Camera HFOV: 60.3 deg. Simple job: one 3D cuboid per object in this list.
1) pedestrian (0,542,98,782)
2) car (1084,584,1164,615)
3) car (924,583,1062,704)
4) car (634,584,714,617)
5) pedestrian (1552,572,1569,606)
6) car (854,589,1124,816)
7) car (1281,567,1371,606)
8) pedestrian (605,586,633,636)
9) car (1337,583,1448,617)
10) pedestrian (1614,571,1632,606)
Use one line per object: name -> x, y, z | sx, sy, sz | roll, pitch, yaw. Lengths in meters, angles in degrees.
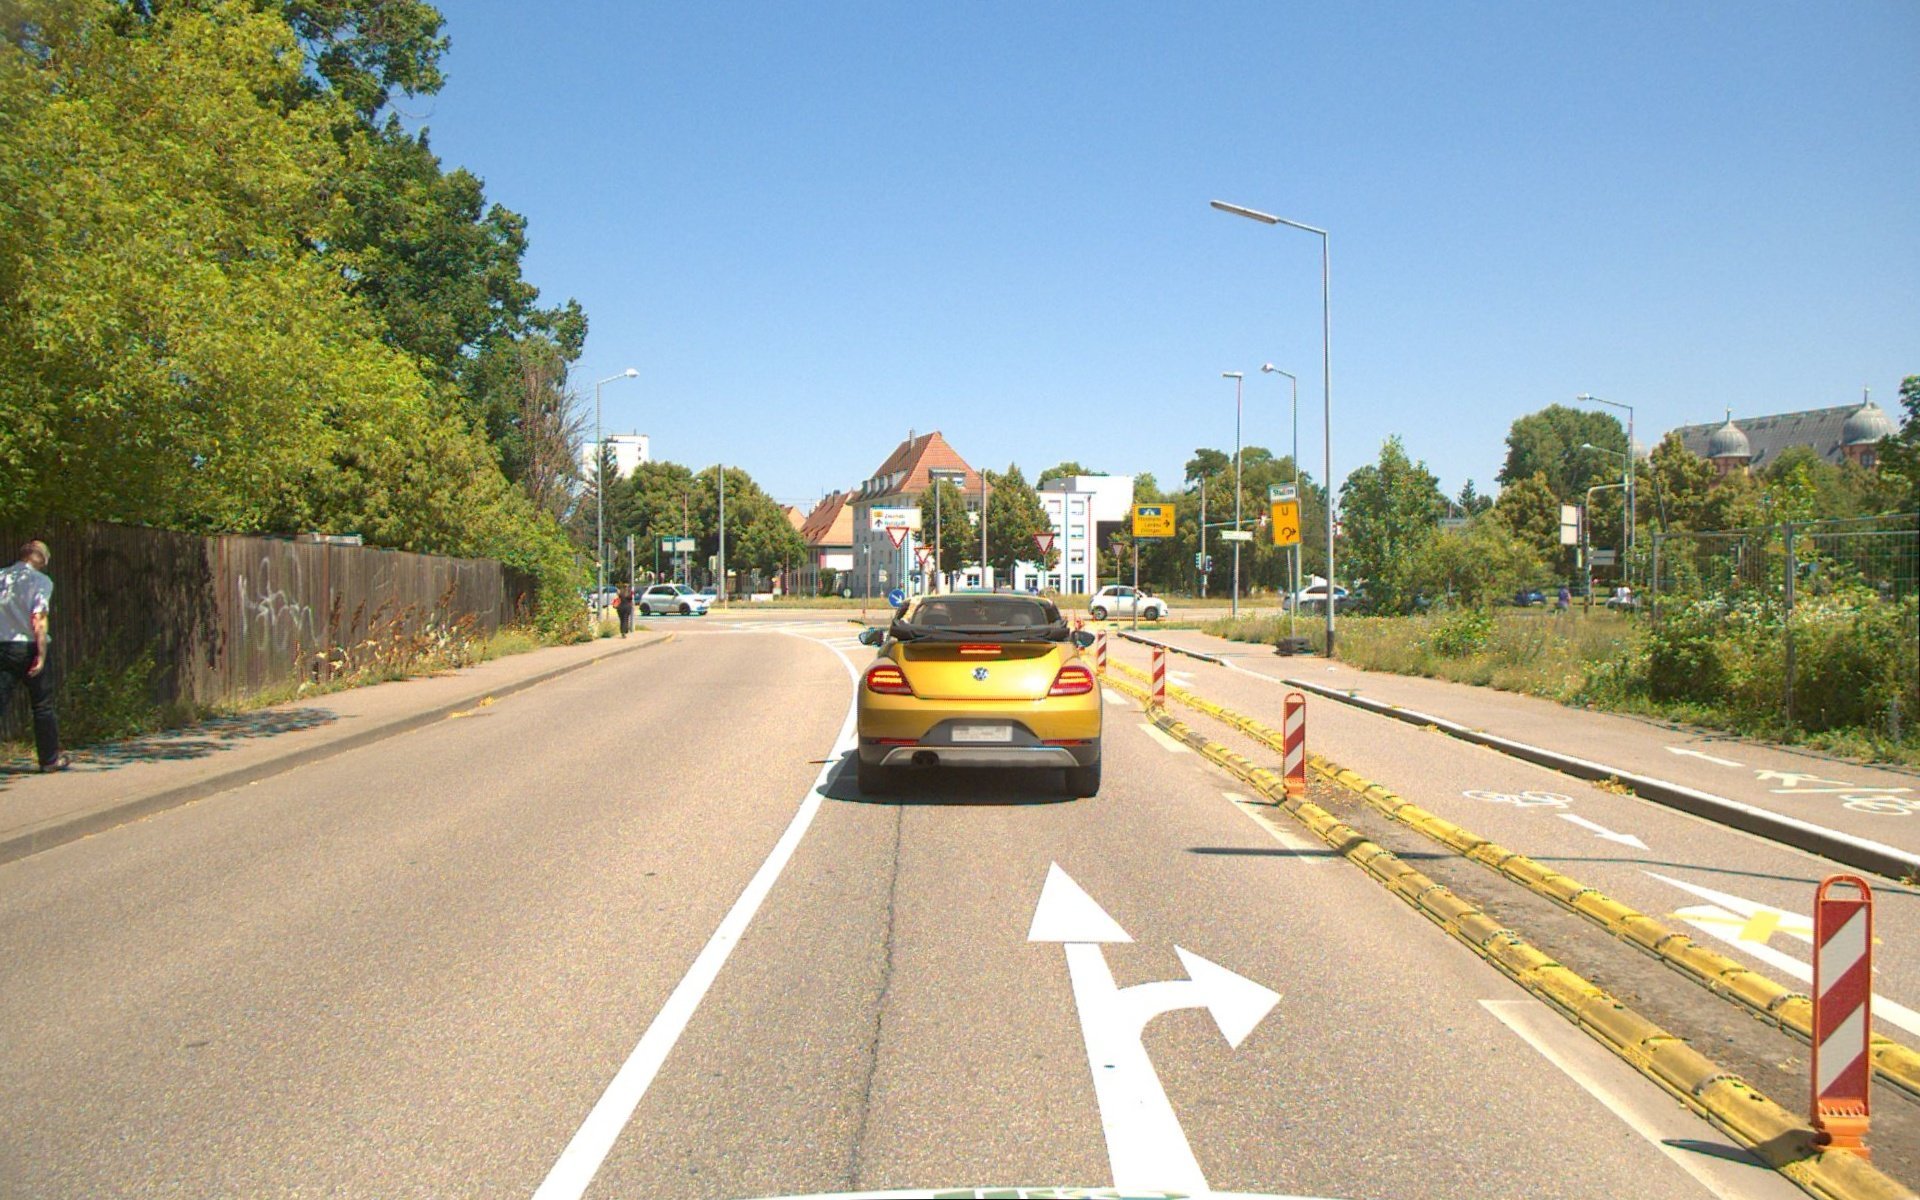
pedestrian -> -7.083, 0.453, 12.518 | 0.708, 1.755, 0.817 | 0, 0, -4
car -> 7.135, -0.018, 71.855 | 3.364, 1.298, 1.203 | -1, 0, 9
car -> 0.388, 0.521, 22.369 | 1.691, 1.468, 4.000 | -1, 0, -1
car -> -14.299, 0.010, 82.685 | 3.624, 1.598, 1.681 | 0, 0, 26
pedestrian -> 23.343, -0.423, 64.309 | 0.590, 1.334, 0.546 | 0, 0, 21
car -> 0.141, 0.653, 12.704 | 1.754, 1.462, 3.812 | -1, 0, -2
car -> 17.169, -0.642, 77.700 | 3.985, 1.774, 1.568 | -1, 0, 8
pedestrian -> -10.213, 0.320, 49.591 | 0.708, 1.479, 0.817 | -1, 0, -4
car -> 18.184, -0.015, 69.693 | 4.346, 1.381, 1.538 | -1, 0, 5
pedestrian -> 25.167, -0.445, 62.762 | 0.535, 1.334, 0.603 | 0, 0, 31
